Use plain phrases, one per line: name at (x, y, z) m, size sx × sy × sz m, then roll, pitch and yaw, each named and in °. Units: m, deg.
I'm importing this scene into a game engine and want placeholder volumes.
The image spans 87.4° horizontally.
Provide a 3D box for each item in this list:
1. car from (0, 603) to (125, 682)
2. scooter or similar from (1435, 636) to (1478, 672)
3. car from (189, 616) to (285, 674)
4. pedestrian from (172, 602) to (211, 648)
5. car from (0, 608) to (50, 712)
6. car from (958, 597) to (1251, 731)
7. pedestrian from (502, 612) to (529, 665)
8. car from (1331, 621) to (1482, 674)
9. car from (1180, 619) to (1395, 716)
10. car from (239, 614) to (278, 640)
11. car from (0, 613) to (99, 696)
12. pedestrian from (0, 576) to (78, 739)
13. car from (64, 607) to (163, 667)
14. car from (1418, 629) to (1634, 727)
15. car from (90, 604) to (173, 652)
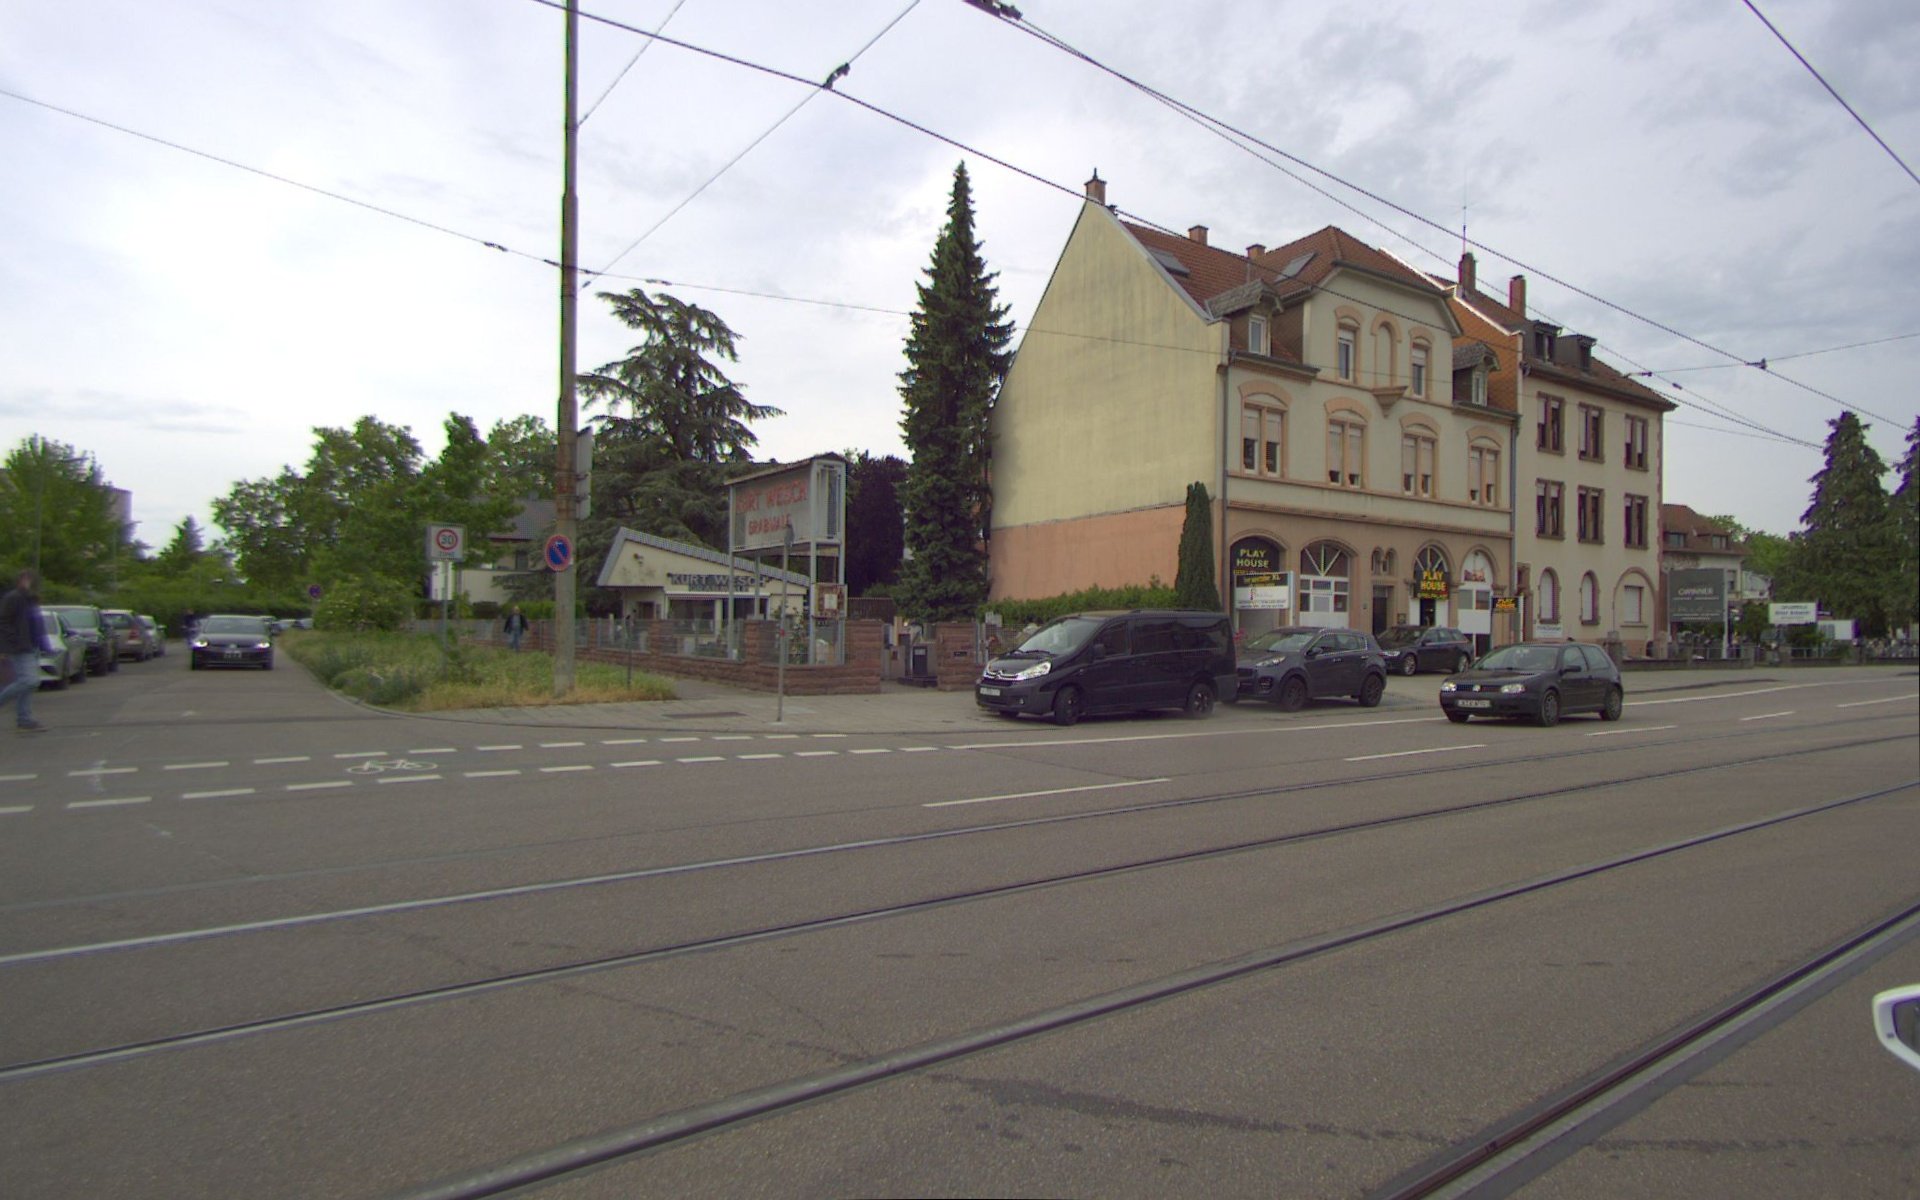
car at (-20.708, 0.931, 23.173) m, size 1.982 × 1.673 × 3.958 m, roll 2°, pitch -2°, yaw -37°
scooter or similar at (16.713, 1.817, 33.830) m, size 0.523 × 1.116 × 1.166 m, roll 2°, pitch 1°, yaw -35°
car at (-19.723, 1.203, 27.542) m, size 1.796 × 1.470 × 3.953 m, roll 2°, pitch -2°, yaw -31°
pedestrian at (-34.625, 1.146, 45.238) m, size 1.199 × 2.040 × 1.182 m, roll -1°, pitch -2°, yaw 43°
car at (-14.836, 0.856, 14.670) m, size 1.707 × 1.441 × 3.981 m, roll -1°, pitch 0°, yaw -34°
car at (2.660, 1.073, 17.856) m, size 5.131 × 2.040 × 1.974 m, roll 2°, pitch 0°, yaw -34°
pedestrian at (-15.269, 1.327, 34.512) m, size 0.752 × 1.797 × 0.631 m, roll 2°, pitch -1°, yaw -29°
car at (13.916, 1.478, 31.240) m, size 4.850 × 1.512 × 1.982 m, roll 2°, pitch -1°, yaw -33°
car at (6.984, 1.337, 21.256) m, size 4.489 × 1.773 × 2.023 m, roll 1°, pitch 1°, yaw -35°
car at (-59.236, 2.273, 84.837) m, size 1.973 × 2.040 × 3.974 m, roll 2°, pitch -1°, yaw -25°
car at (-17.316, 0.943, 18.542) m, size 1.762 × 1.367 × 4.008 m, roll 2°, pitch -1°, yaw -35°
pedestrian at (-11.106, 0.654, 11.720) m, size 1.047 × 1.849 × 0.800 m, roll 2°, pitch -1°, yaw -31°
car at (-26.063, 1.104, 31.048) m, size 1.869 × 1.704 × 3.801 m, roll 2°, pitch -1°, yaw -34°
car at (10.115, 1.349, 17.867) m, size 4.101 × 1.550 × 1.778 m, roll 2°, pitch -4°, yaw -36°
car at (-29.666, 0.990, 36.088) m, size 1.861 × 1.582 × 3.962 m, roll 2°, pitch -1°, yaw -34°
